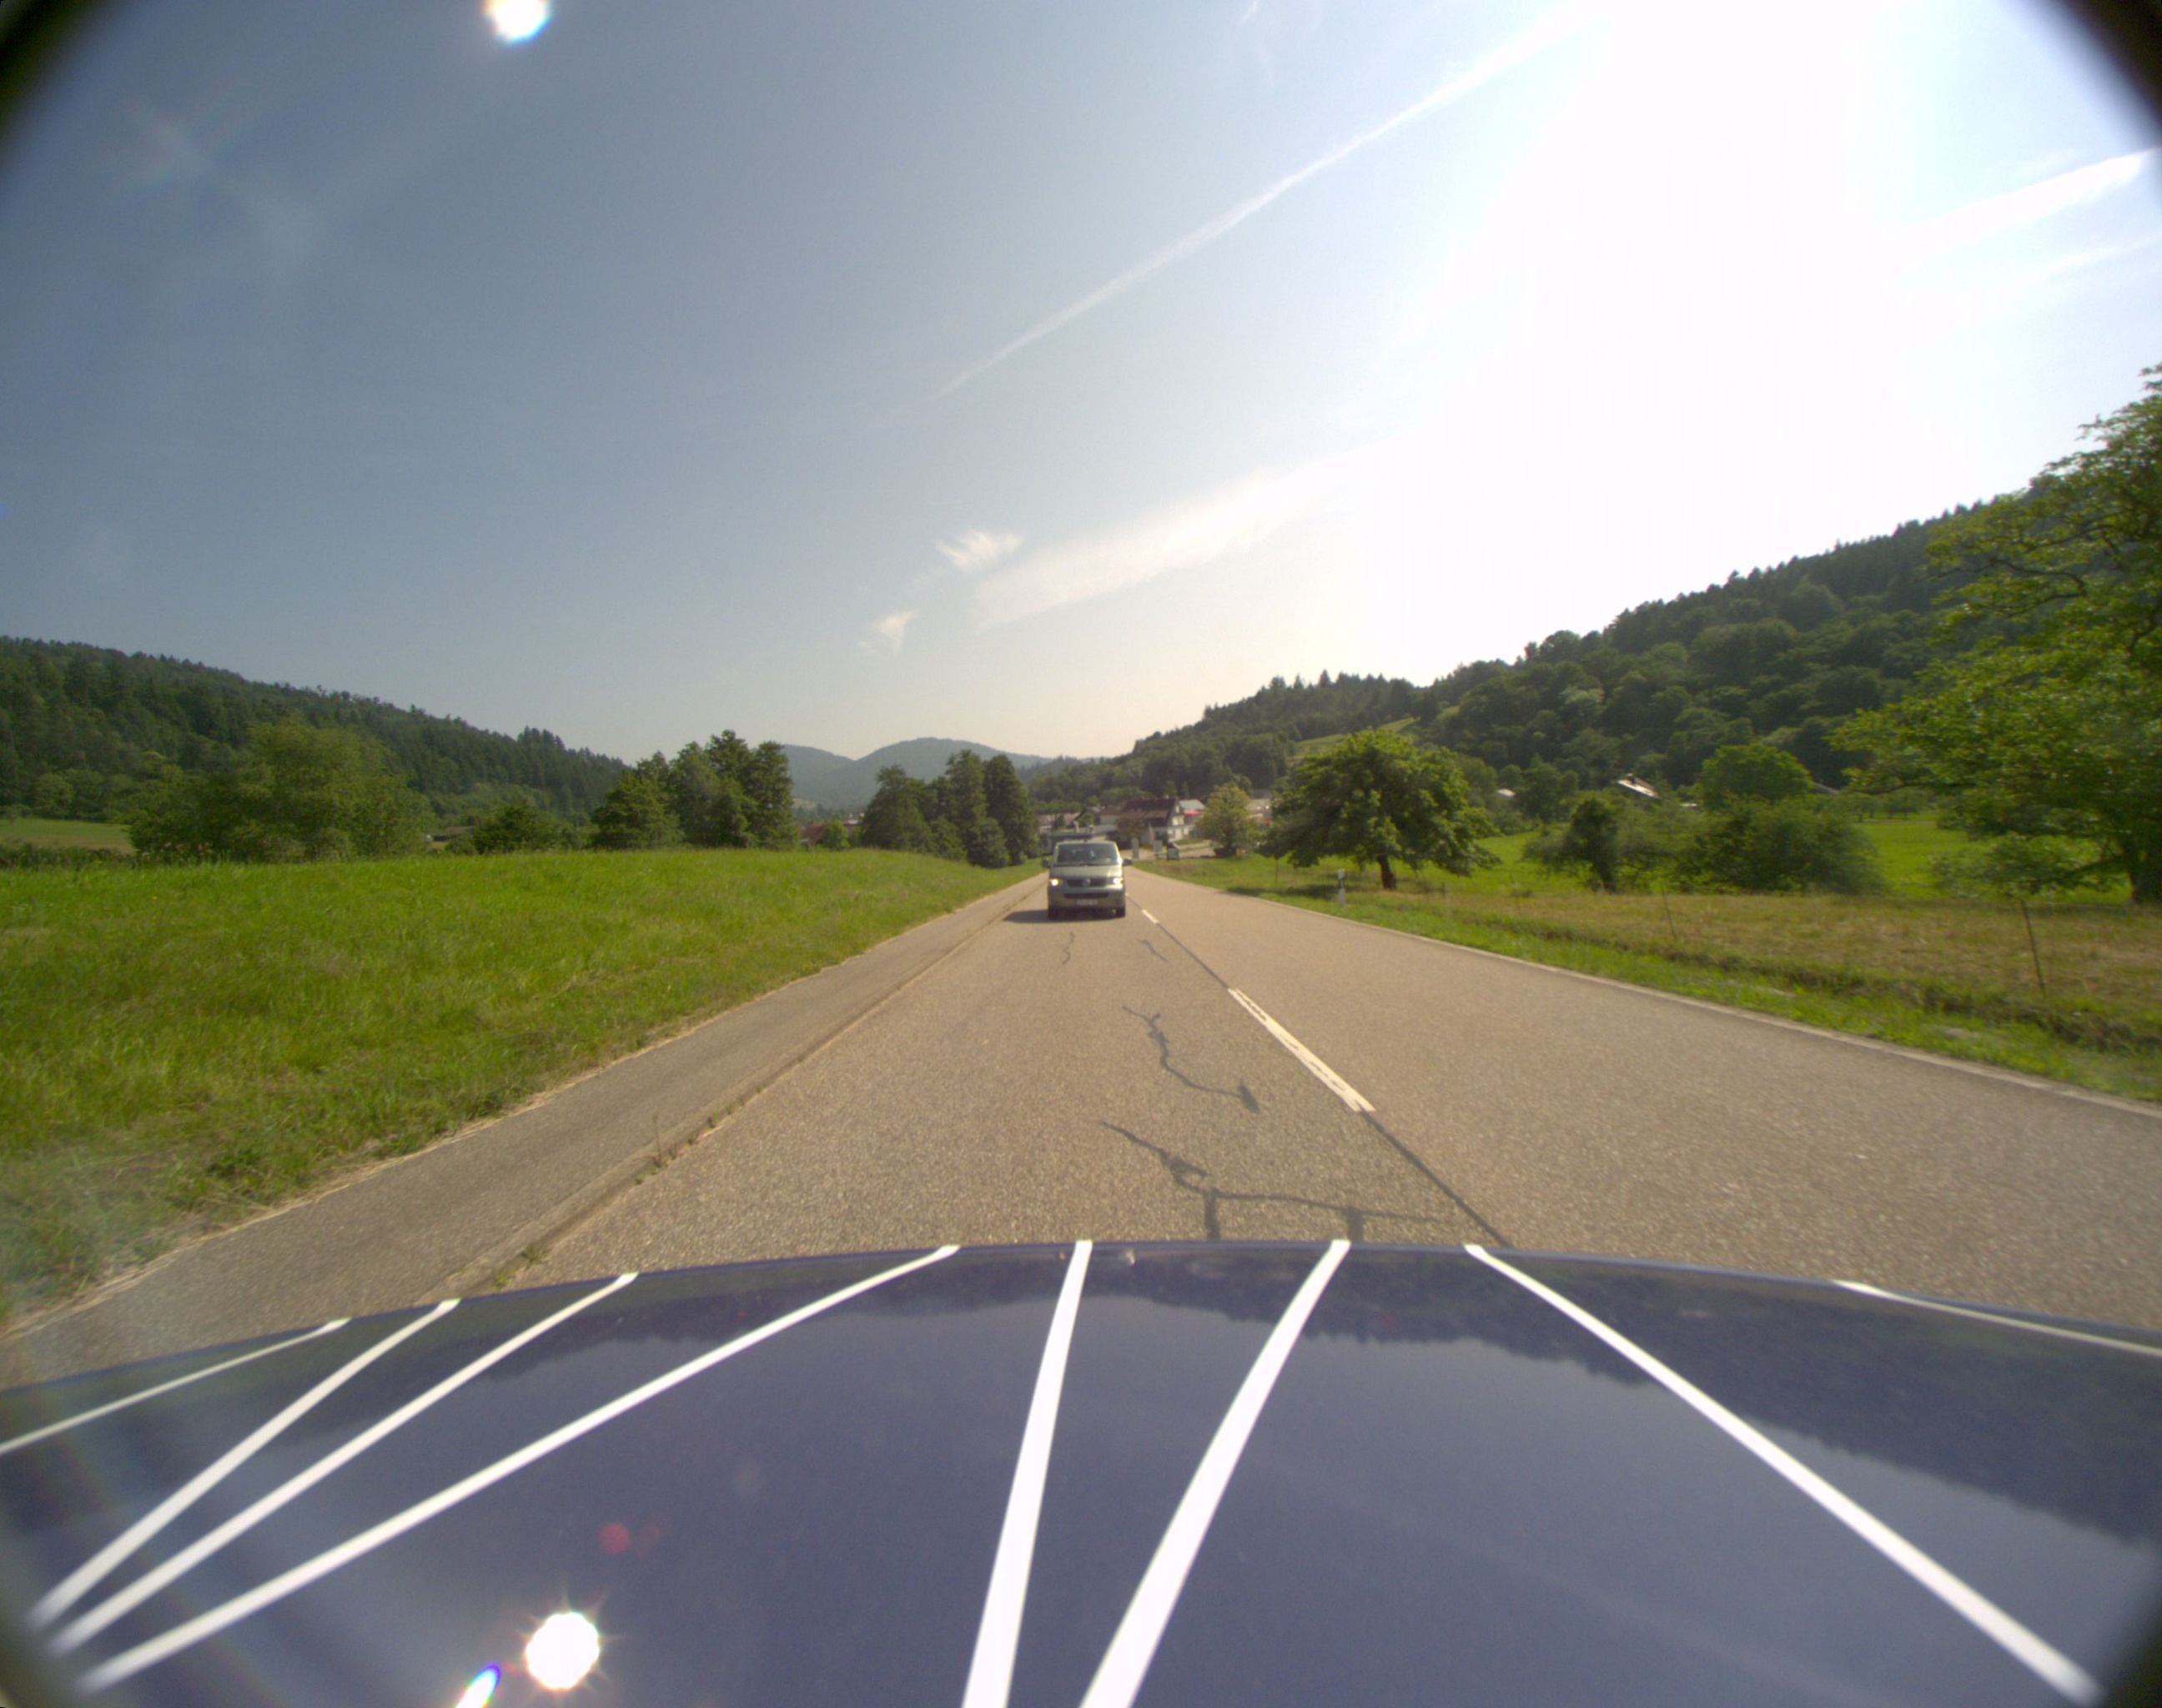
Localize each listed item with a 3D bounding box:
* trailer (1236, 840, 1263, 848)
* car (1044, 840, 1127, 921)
[{"bbox_3d":[27.635,-1.660,124.551,3.935,0.934,1.870,-2,4,32],"label":"trailer"},{"bbox_3d":[0.188,0.612,21.263,2.023,1.971,5.048,-1,1,2],"label":"car"}]
